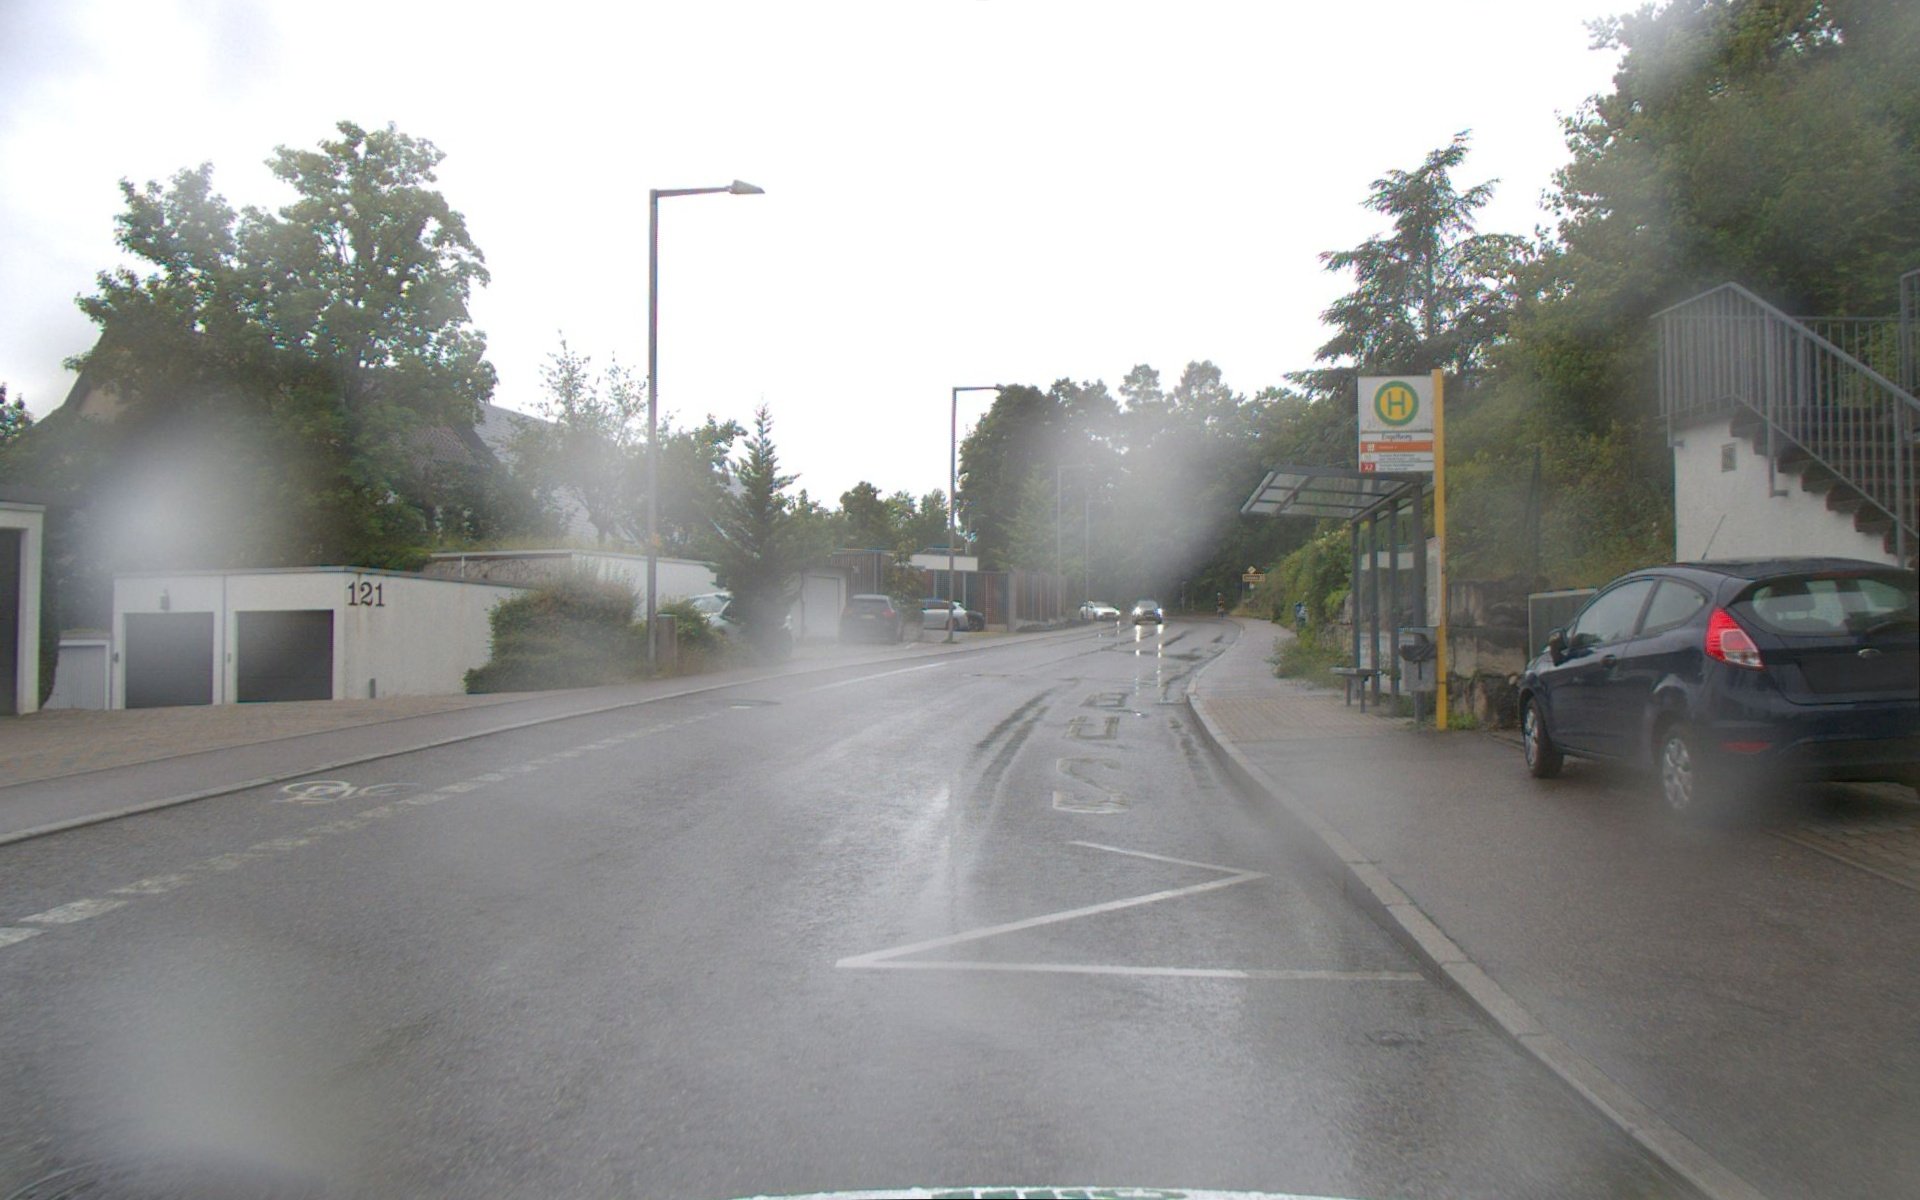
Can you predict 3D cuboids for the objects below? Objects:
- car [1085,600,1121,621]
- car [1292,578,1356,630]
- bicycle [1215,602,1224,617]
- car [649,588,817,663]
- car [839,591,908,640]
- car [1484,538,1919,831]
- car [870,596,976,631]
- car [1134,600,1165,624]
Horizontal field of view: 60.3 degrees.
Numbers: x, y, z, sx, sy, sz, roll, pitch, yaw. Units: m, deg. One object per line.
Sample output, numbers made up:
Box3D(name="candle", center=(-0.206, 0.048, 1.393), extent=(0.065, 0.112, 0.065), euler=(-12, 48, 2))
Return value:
Box3D(name="car", center=(10.726, 0.760, 124.325), extent=(1.812, 1.486, 4.261), euler=(1, 0, -7))
Box3D(name="car", center=(13.172, 0.136, 60.101), extent=(1.951, 1.699, 4.548), euler=(-3, -1, 9))
Box3D(name="bicycle", center=(18.936, 0.682, 120.679), extent=(0.516, 1.104, 1.622), euler=(1, 0, 7))
Box3D(name="car", center=(-5.048, 0.551, 37.406), extent=(1.671, 1.580, 4.386), euler=(0, 0, 25))
Box3D(name="car", center=(-2.645, 0.459, 51.450), extent=(1.795, 1.430, 4.261), euler=(0, 0, 2))
Box3D(name="car", center=(4.874, 0.426, 10.669), extent=(1.670, 1.479, 4.021), euler=(-3, 0, 0))
Box3D(name="car", center=(-1.635, 0.586, 73.558), extent=(4.467, 1.467, 1.745), euler=(1, 0, -29))
Box3D(name="car", center=(12.261, 0.771, 107.073), extent=(1.812, 1.495, 3.701), euler=(0, 0, 3))
